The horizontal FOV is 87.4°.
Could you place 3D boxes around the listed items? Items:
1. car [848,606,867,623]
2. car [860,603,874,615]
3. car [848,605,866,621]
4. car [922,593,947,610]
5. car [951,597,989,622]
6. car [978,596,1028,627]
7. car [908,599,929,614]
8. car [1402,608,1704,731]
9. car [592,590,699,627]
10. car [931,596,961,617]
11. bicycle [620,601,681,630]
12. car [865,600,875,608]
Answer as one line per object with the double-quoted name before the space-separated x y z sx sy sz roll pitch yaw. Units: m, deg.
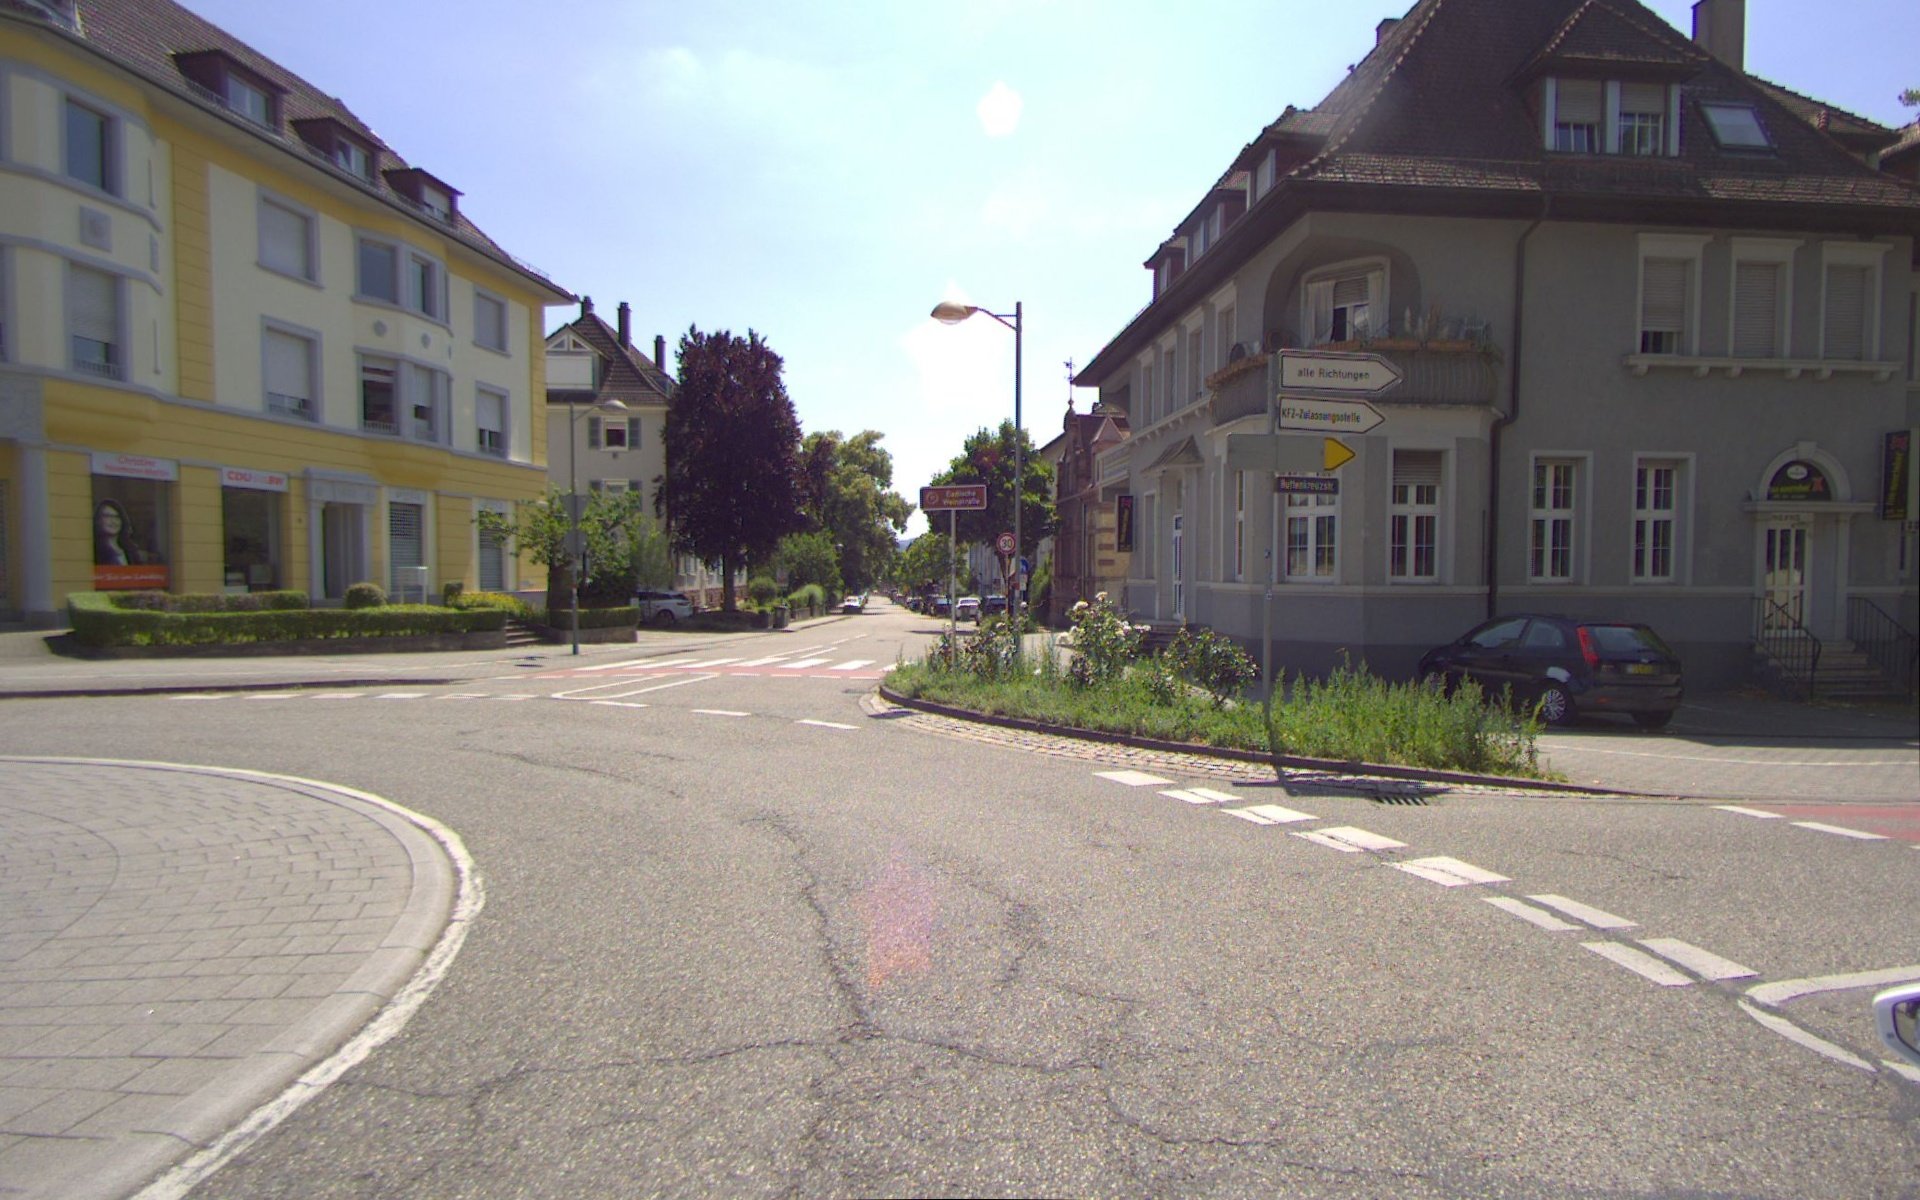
"car" -9.875 1.374 96.812 1.776 1.472 3.996 1 0 -5
"car" -12.609 1.249 136.455 1.776 1.472 3.996 1 0 -5
"car" -10.484 1.338 102.562 1.776 1.472 3.996 1 0 -5
"car" -2.360 0.132 91.775 1.963 1.529 4.414 1 0 -6
"car" 0.597 0.618 65.467 1.963 1.529 4.414 1 0 -6
"car" 2.231 0.584 53.309 1.963 1.529 4.414 1 0 -6
"car" -4.643 0.740 112.117 1.963 1.529 4.414 1 0 -6
"car" 8.314 0.900 14.524 1.693 1.480 3.786 1 0 -10
"car" -13.895 0.352 44.582 4.342 1.529 1.995 1 0 -13
"car" -1.138 0.508 80.361 1.963 1.529 4.414 1 0 -6
"bicycle" -13.003 0.636 42.215 2.345 1.154 0.667 1 0 -10
"car" -16.793 0.756 187.192 1.776 1.472 3.996 1 0 -5
